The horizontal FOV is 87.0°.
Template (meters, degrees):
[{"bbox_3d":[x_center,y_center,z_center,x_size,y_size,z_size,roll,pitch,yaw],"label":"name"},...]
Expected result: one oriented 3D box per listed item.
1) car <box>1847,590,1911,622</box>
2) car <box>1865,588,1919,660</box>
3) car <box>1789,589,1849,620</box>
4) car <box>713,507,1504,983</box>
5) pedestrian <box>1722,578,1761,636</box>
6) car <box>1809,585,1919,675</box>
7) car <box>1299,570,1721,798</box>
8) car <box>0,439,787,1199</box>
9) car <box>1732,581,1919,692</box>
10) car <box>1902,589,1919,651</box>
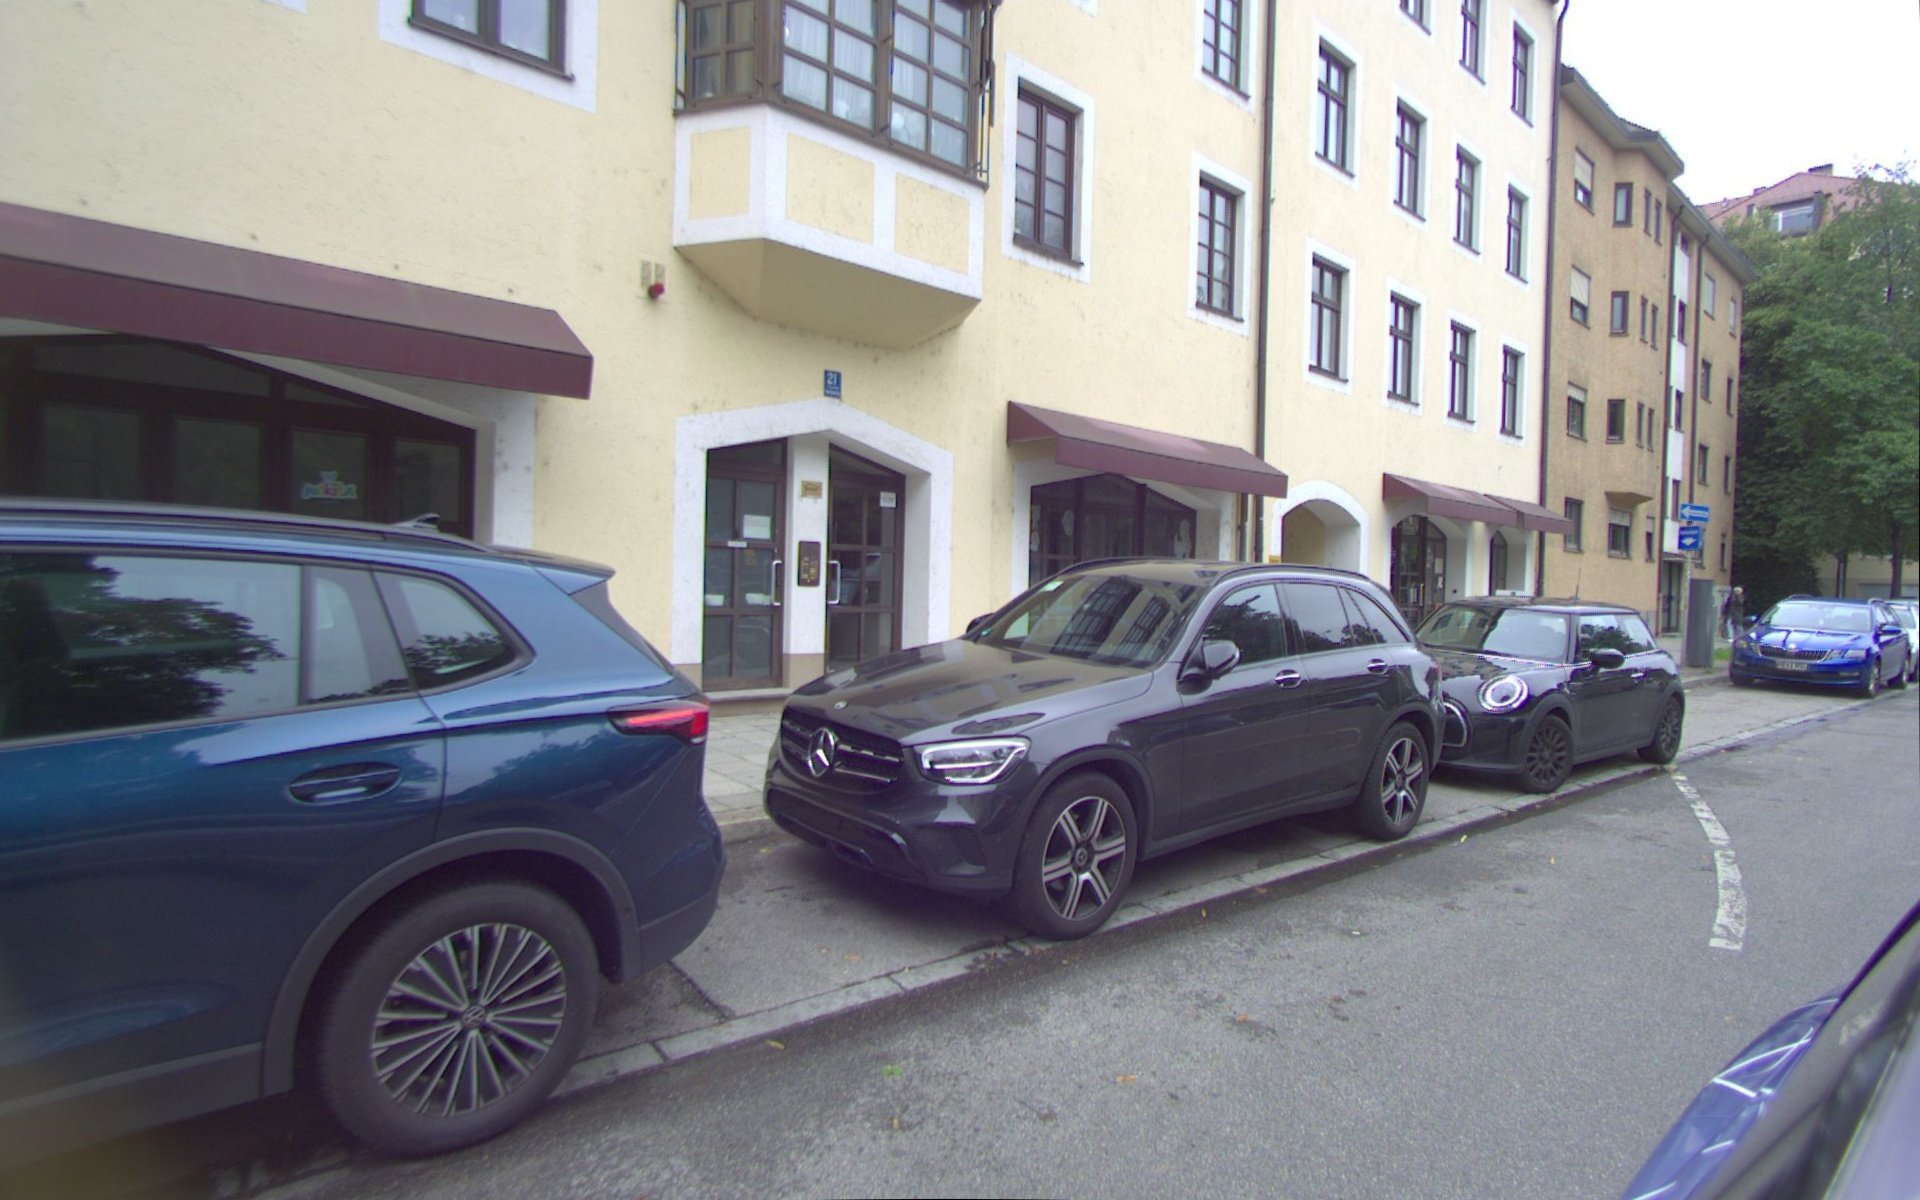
[{"bbox_3d":[45.860,0.280,50.457,4.174,1.485,2.050,0,2,-44],"label":"car"},{"bbox_3d":[22.069,0.537,22.991,3.718,1.514,1.632,0,3,-39],"label":"car"},{"bbox_3d":[44.144,0.210,51.974,4.174,1.485,1.914,0,2,-44],"label":"car"},{"bbox_3d":[1.141,0.473,5.753,4.622,1.700,1.761,0,3,-39],"label":"car"},{"bbox_3d":[22.773,0.185,29.485,0.962,1.644,0.672,-1,2,-38],"label":"pedestrian"},{"bbox_3d":[18.108,0.530,19.645,4.355,1.514,1.695,0,3,-40],"label":"car"},{"bbox_3d":[4.863,0.568,8.799,3.751,1.514,1.762,0,3,-37],"label":"car"},{"bbox_3d":[-2.792,0.499,2.263,4.433,1.700,1.822,0,3,-42],"label":"car"},{"bbox_3d":[14.358,0.515,16.514,4.406,1.514,1.761,0,3,-39],"label":"car"},{"bbox_3d":[25.590,0.533,25.887,3.752,1.514,1.632,0,3,-39],"label":"car"}]
